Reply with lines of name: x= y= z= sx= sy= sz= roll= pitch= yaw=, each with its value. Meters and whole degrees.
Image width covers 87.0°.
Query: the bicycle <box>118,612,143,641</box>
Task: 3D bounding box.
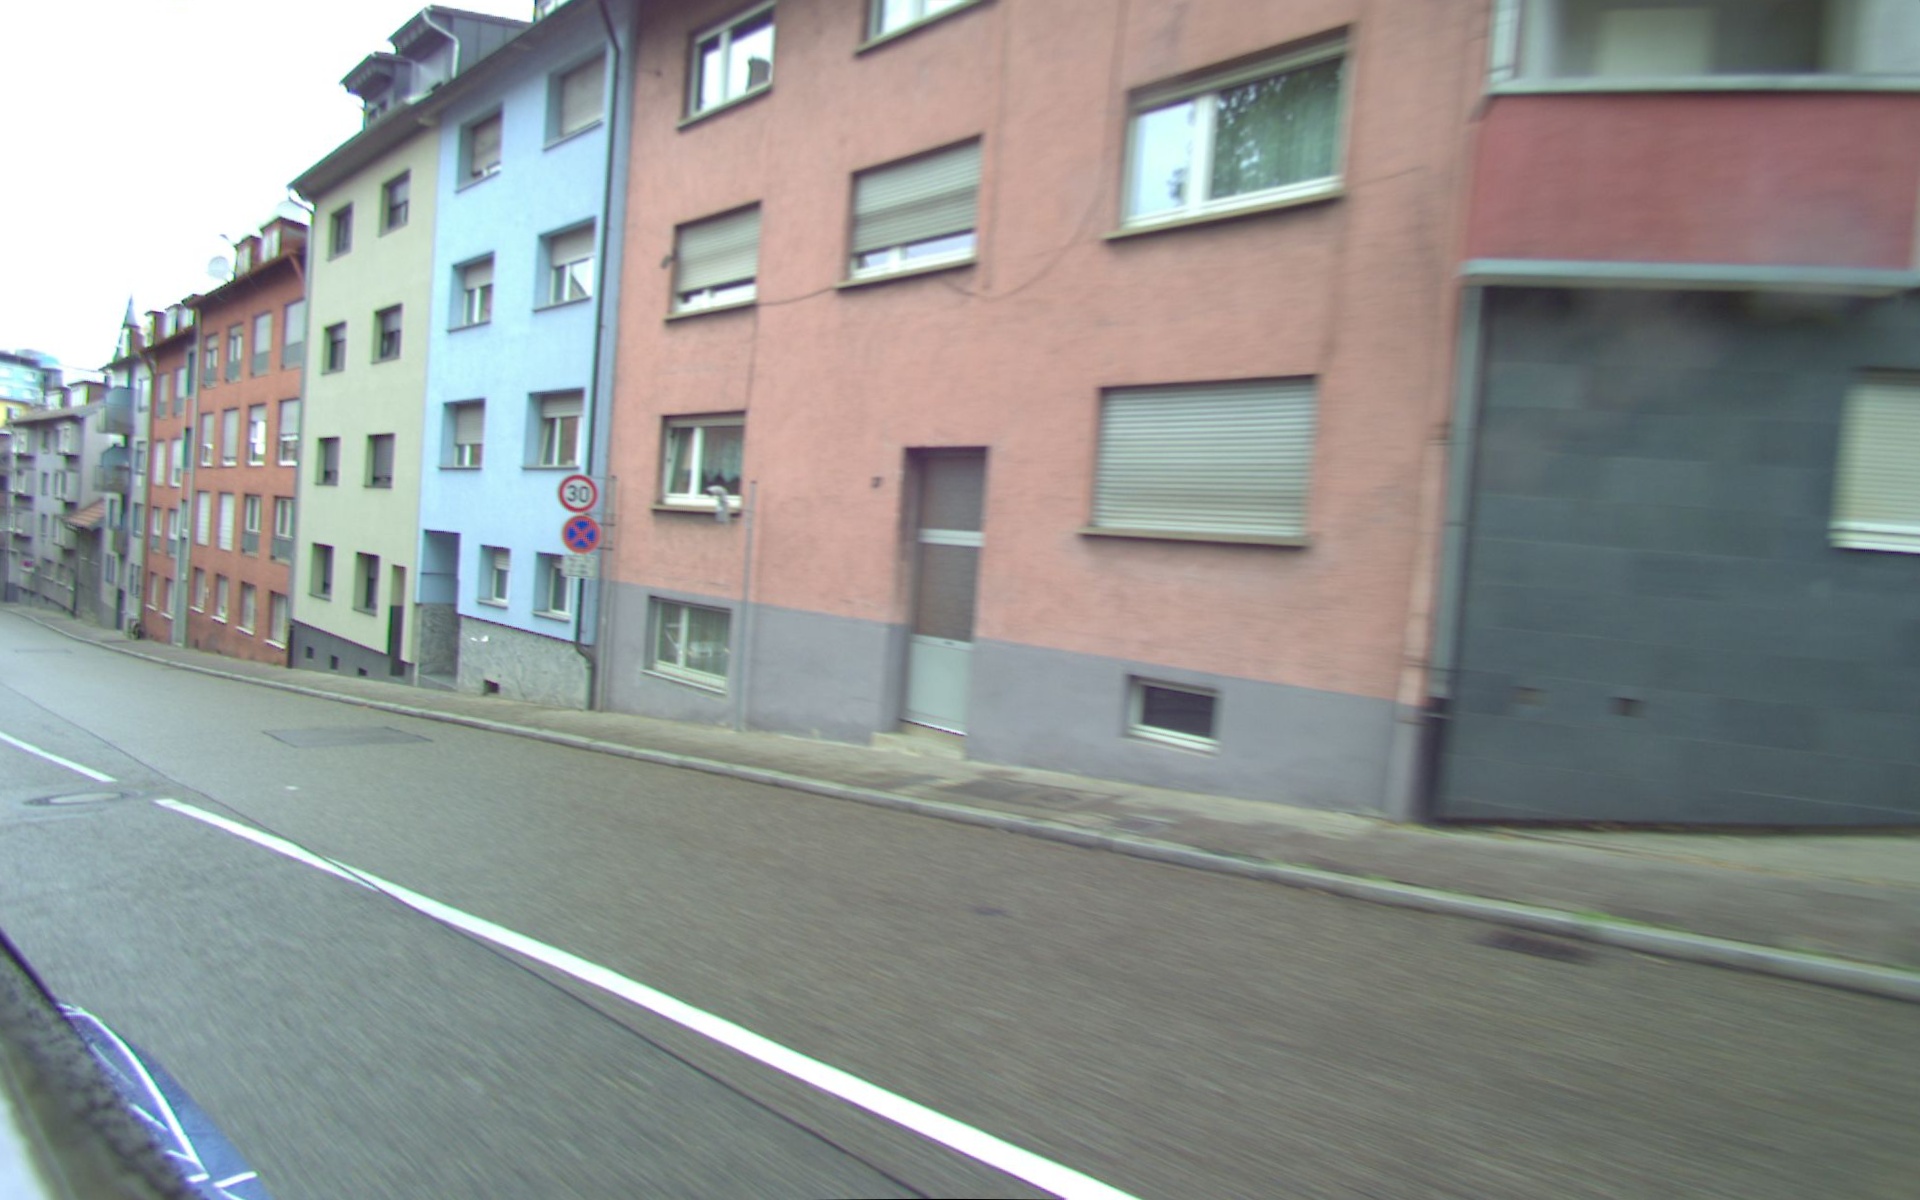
bicycle: x=-35.550 y=1.126 z=43.361 sx=2.040 sy=1.125 sz=0.565 roll=1 pitch=1 yaw=43
